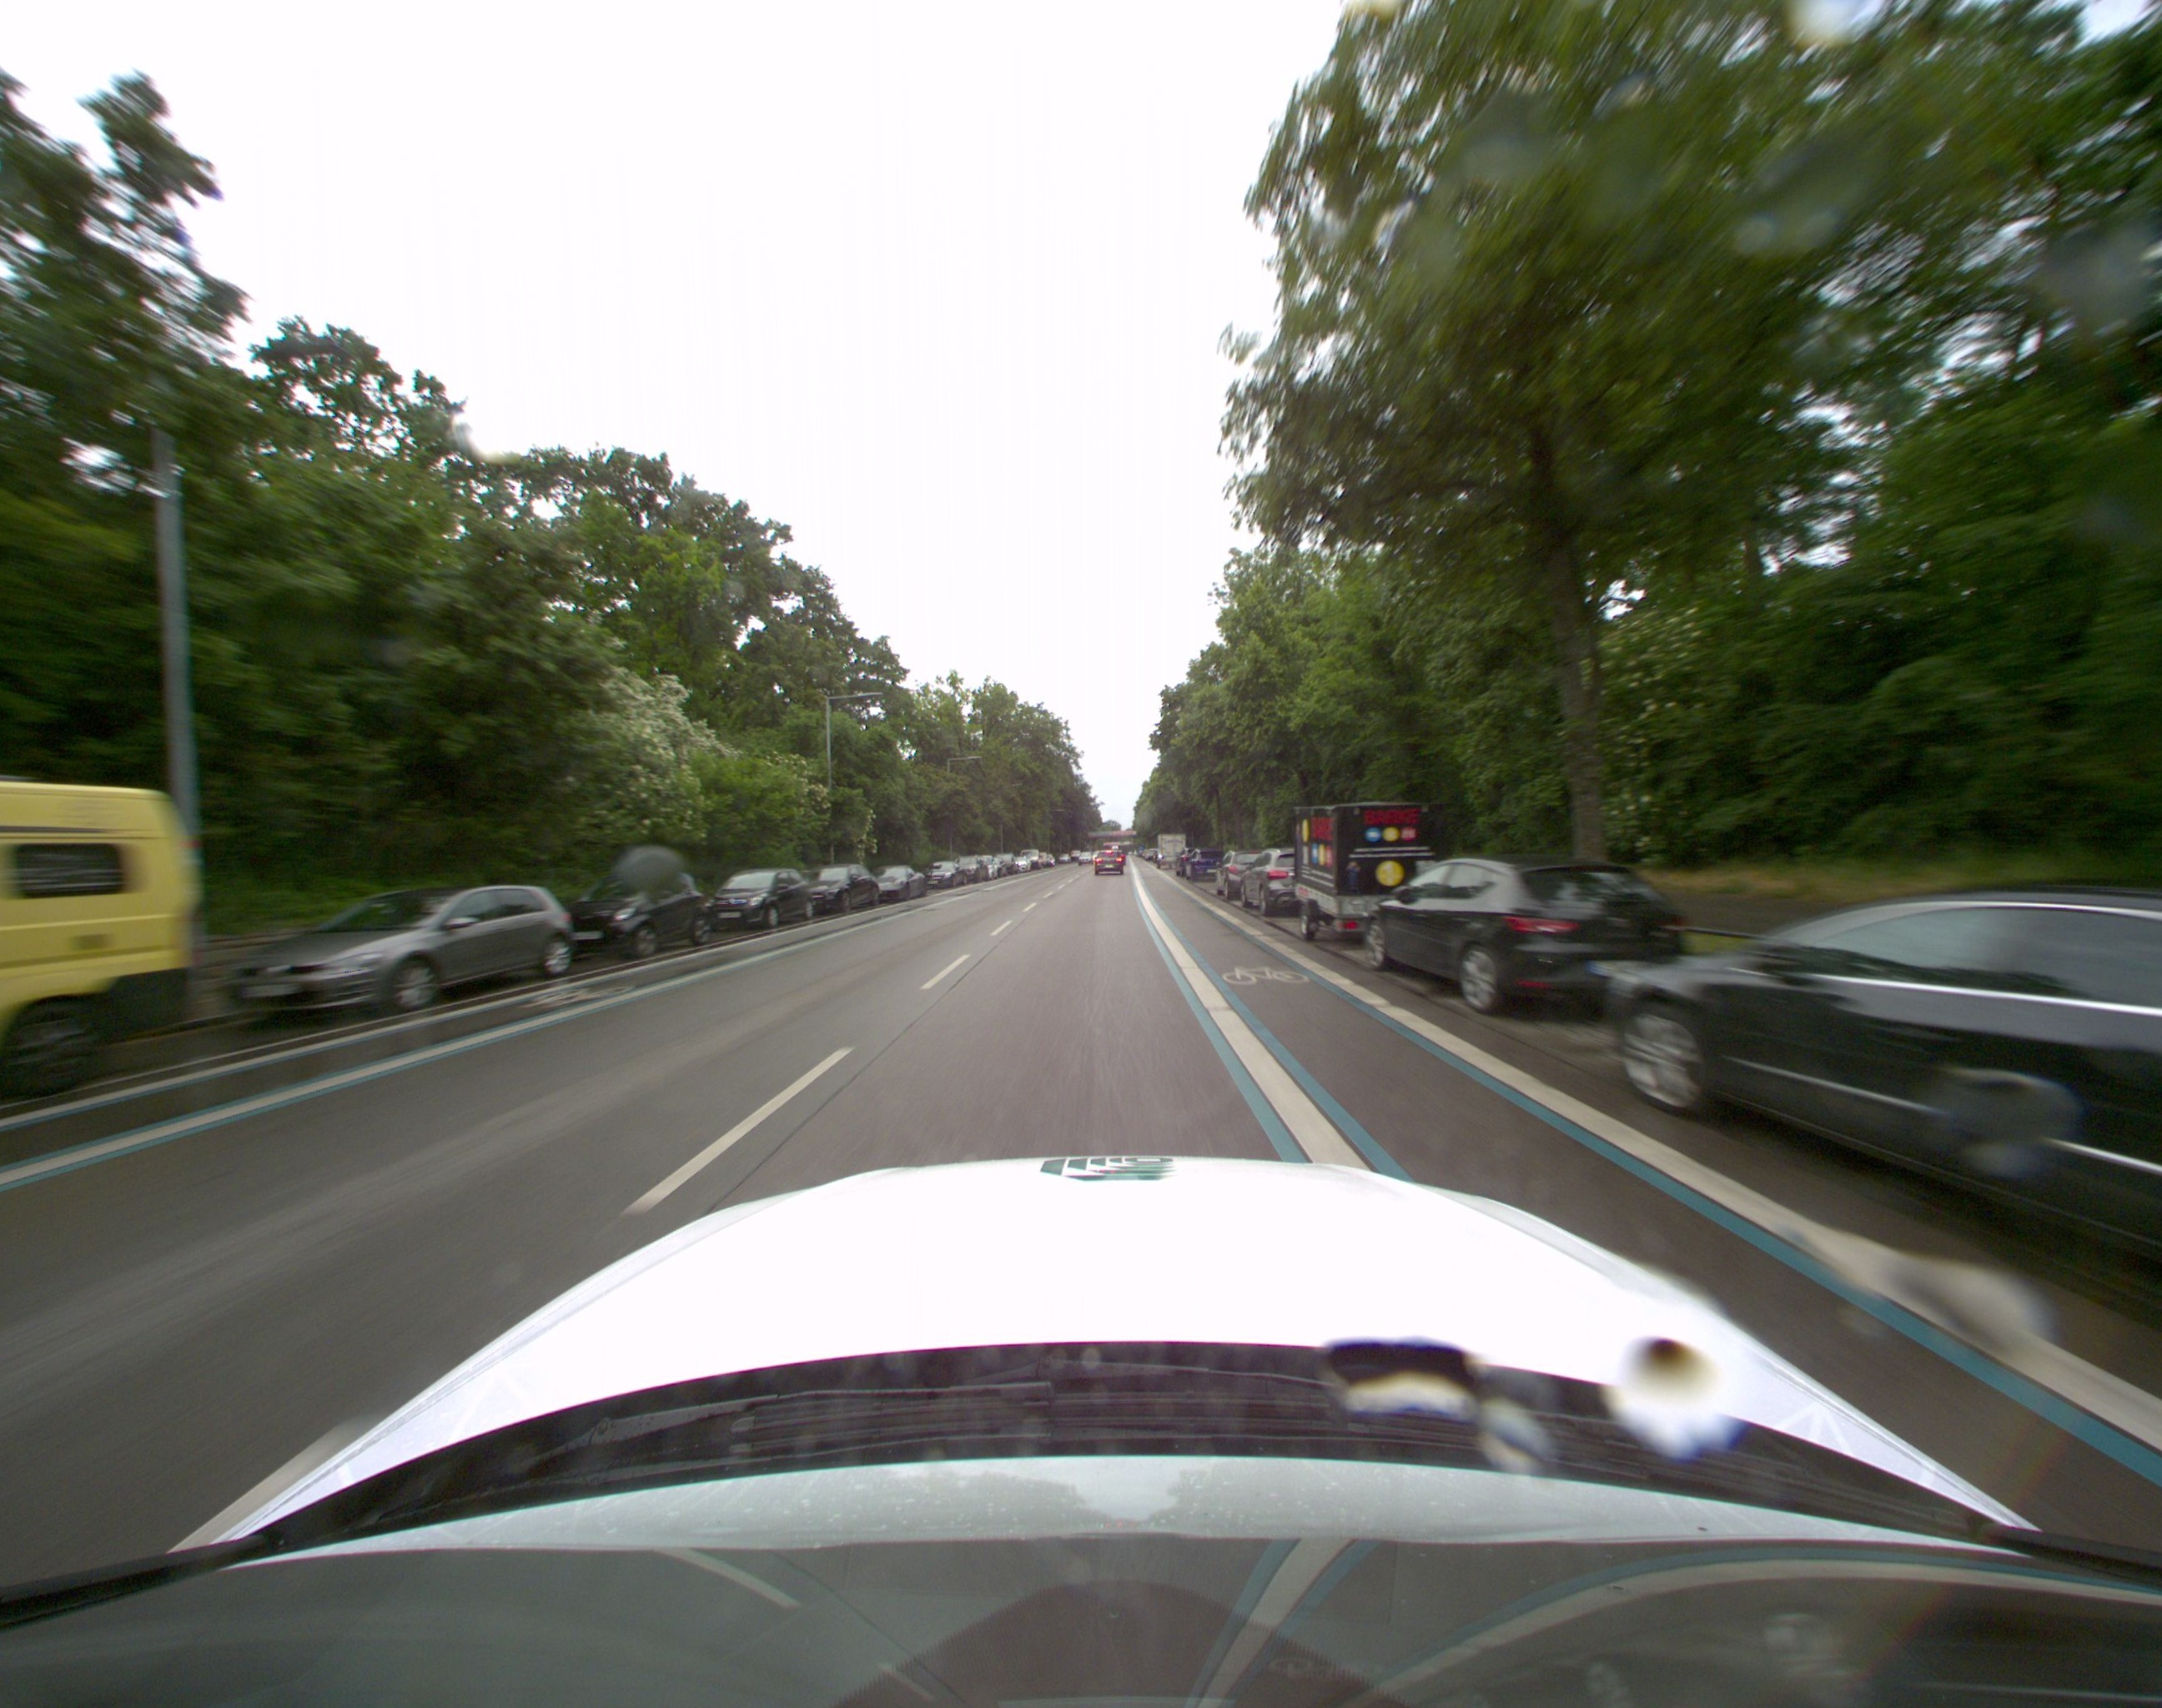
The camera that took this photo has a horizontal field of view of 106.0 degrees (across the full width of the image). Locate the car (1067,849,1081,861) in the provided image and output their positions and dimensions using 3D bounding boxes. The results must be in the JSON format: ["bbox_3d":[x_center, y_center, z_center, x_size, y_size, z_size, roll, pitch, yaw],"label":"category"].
[{"bbox_3d":[-1.285,0.180,148.779,2.149,2.013,5.036,-2,0,4],"label":"car"}]

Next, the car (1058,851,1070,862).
[{"bbox_3d":[-2.569,0.364,124.248,1.666,1.513,3.632,-1,0,2],"label":"car"}]

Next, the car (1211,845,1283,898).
[{"bbox_3d":[5.032,0.495,25.143,1.608,1.470,4.004,-1,0,3],"label":"car"}]

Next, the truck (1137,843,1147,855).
[{"bbox_3d":[13.701,-1.159,183.964,2.104,2.599,4.305,-2,0,3],"label":"truck"}]

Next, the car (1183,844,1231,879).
[{"bbox_3d":[5.795,0.305,37.819,1.675,1.481,4.321,-1,0,2],"label":"car"}]

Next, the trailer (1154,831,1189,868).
[{"bbox_3d":[6.694,-0.325,60.685,2.125,2.560,4.297,-2,0,0],"label":"trailer"}]

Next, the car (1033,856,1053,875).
[{"bbox_3d":[-4.130,1.248,89.861,1.933,2.013,4.740,-2,0,0],"label":"car"}]

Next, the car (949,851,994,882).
[{"bbox_3d":[-6.198,0.686,46.411,1.689,1.584,4.143,-2,0,4],"label":"car"}]

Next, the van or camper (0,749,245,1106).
[{"bbox_3d":[-9.095,0.586,4.831,2.135,2.627,5.686,-2,0,3],"label":"van or camper"}]

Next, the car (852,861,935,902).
[{"bbox_3d":[-6.883,0.981,30.445,1.862,1.304,4.473,-2,0,2],"label":"car"}]

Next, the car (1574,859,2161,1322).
[{"bbox_3d":[4.162,0.729,3.195,1.746,1.393,4.444,0,0,-1],"label":"car"}]

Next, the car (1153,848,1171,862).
[{"bbox_3d":[8.885,0.096,89.413,1.715,1.525,4.004,-2,0,3],"label":"car"}]

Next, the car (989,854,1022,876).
[{"bbox_3d":[-5.764,0.788,62.546,1.871,1.561,4.472,-2,0,3],"label":"car"}]

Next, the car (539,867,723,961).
[{"bbox_3d":[-8.489,1.068,15.675,1.595,1.510,3.142,-2,0,4],"label":"car"}]

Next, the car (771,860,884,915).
[{"bbox_3d":[-7.839,0.997,25.634,1.985,1.452,4.143,-2,0,4],"label":"car"}]

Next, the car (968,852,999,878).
[{"bbox_3d":[-6.089,0.667,50.986,1.455,1.571,2.985,-2,0,2],"label":"car"}]

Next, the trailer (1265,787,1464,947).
[{"bbox_3d":[4.632,0.176,14.133,1.899,2.247,4.770,-2,0,2],"label":"trailer"}]

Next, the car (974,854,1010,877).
[{"bbox_3d":[-6.099,0.760,56.296,1.801,1.488,4.470,-2,0,2],"label":"car"}]

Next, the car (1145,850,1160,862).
[{"bbox_3d":[9.997,0.229,113.733,1.889,1.606,4.004,-2,0,3],"label":"car"}]

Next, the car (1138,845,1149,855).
[{"bbox_3d":[12.953,-0.819,168.747,1.986,2.013,4.002,-2,0,2],"label":"car"}]

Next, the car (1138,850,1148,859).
[{"bbox_3d":[13.433,0.169,176.117,1.985,1.772,4.003,-4,-1,3],"label":"car"}]

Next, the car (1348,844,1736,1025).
[{"bbox_3d":[4.481,0.654,8.795,1.816,1.485,4.199,0,0,0],"label":"car"}]

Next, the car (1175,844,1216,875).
[{"bbox_3d":[6.029,0.269,43.271,1.707,1.512,3.977,-2,0,2],"label":"car"}]

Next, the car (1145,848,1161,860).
[{"bbox_3d":[9.649,-0.017,109.125,1.889,1.606,4.004,-2,0,3],"label":"car"}]

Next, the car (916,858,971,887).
[{"bbox_3d":[-6.840,0.883,40.882,1.689,1.300,4.197,-2,0,4],"label":"car"}]

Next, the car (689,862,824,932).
[{"bbox_3d":[-8.218,1.032,21.032,1.595,1.510,3.981,-2,0,4],"label":"car"}]

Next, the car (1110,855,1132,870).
[{"bbox_3d":[3.877,0.810,79.193,1.875,1.466,3.999,0,0,0],"label":"car"}]

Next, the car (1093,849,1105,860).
[{"bbox_3d":[2.820,0.078,129.195,1.828,1.517,4.002,-2,0,2],"label":"car"}]

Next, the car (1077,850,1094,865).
[{"bbox_3d":[0.544,0.391,91.853,1.691,1.484,4.038,-3,0,3],"label":"car"}]

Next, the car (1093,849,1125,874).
[{"bbox_3d":[1.651,0.469,49.809,1.865,1.441,4.296,-1,-1,1],"label":"car"}]

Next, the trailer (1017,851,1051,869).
[{"bbox_3d":[-4.849,0.614,84.309,1.609,1.628,3.696,-2,0,34],"label":"trailer"}]

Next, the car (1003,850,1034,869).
[{"bbox_3d":[-5.272,0.475,68.900,1.985,1.488,4.472,-2,0,3],"label":"car"}]

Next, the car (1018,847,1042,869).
[{"bbox_3d":[-4.933,0.346,79.279,1.933,2.013,4.740,-2,0,0],"label":"car"}]

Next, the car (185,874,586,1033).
[{"bbox_3d":[-8.733,1.118,10.826,1.674,1.498,4.149,-3,0,0],"label":"car"}]

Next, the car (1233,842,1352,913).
[{"bbox_3d":[4.905,0.493,19.520,1.788,1.450,4.430,-2,0,2],"label":"car"}]
